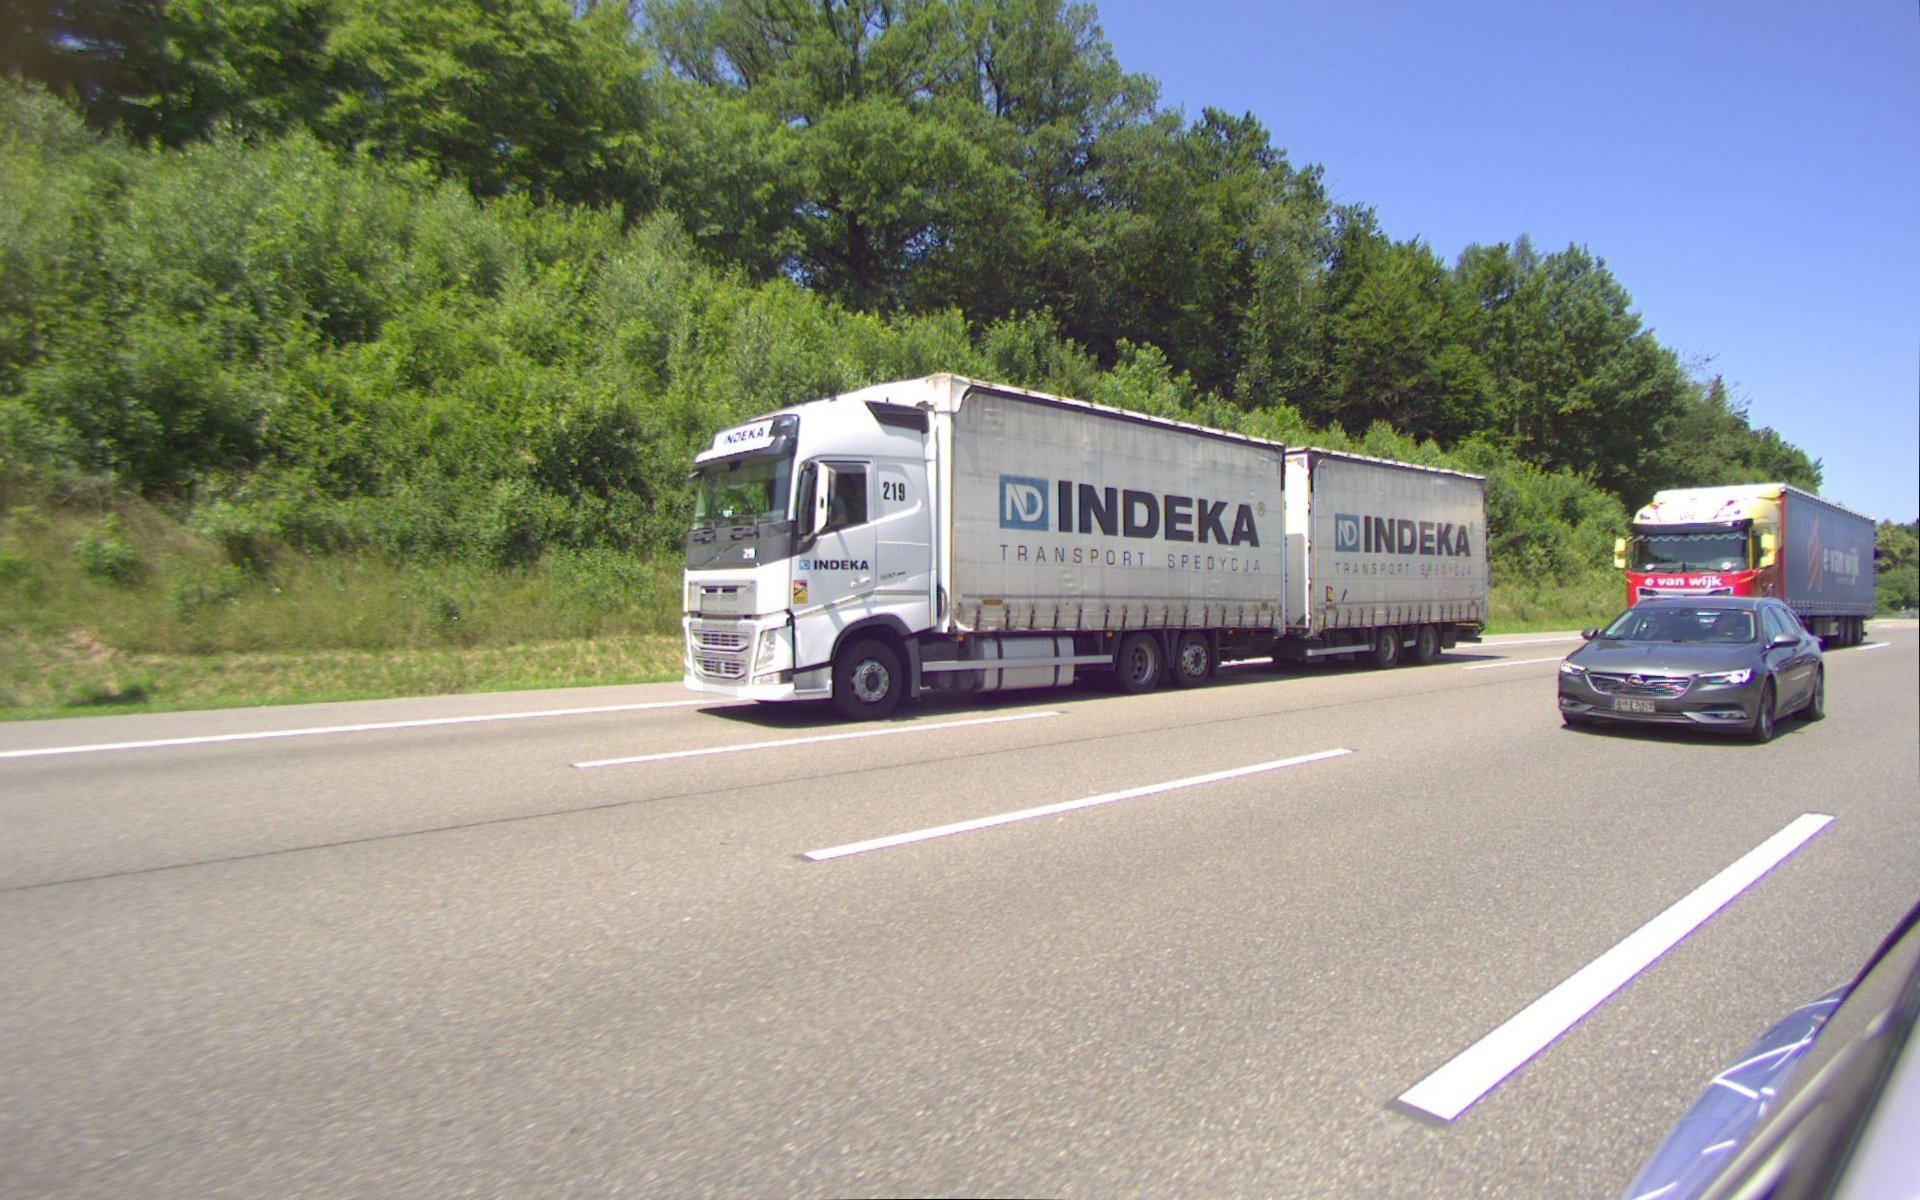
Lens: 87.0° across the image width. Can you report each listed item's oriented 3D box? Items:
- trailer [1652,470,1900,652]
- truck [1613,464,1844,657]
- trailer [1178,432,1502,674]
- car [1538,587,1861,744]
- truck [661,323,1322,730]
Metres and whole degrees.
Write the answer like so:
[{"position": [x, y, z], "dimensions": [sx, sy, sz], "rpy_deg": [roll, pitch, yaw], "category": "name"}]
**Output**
[{"position": [23.966, -0.969, 29.177], "dimensions": [14.588, 4.194, 2.925], "rpy_deg": [0, 1, -41], "category": "trailer"}, {"position": [18.898, -0.849, 24.700], "dimensions": [7.407, 4.031, 3.016], "rpy_deg": [0, 0, -41], "category": "truck"}, {"position": [8.116, -0.850, 20.905], "dimensions": [8.235, 4.121, 2.584], "rpy_deg": [-1, 0, -40], "category": "trailer"}, {"position": [8.891, 0.610, 11.967], "dimensions": [5.132, 1.471, 1.970], "rpy_deg": [0, 0, -41], "category": "car"}, {"position": [1.269, -0.822, 15.019], "dimensions": [10.776, 4.213, 2.727], "rpy_deg": [-1, 0, -41], "category": "truck"}]
